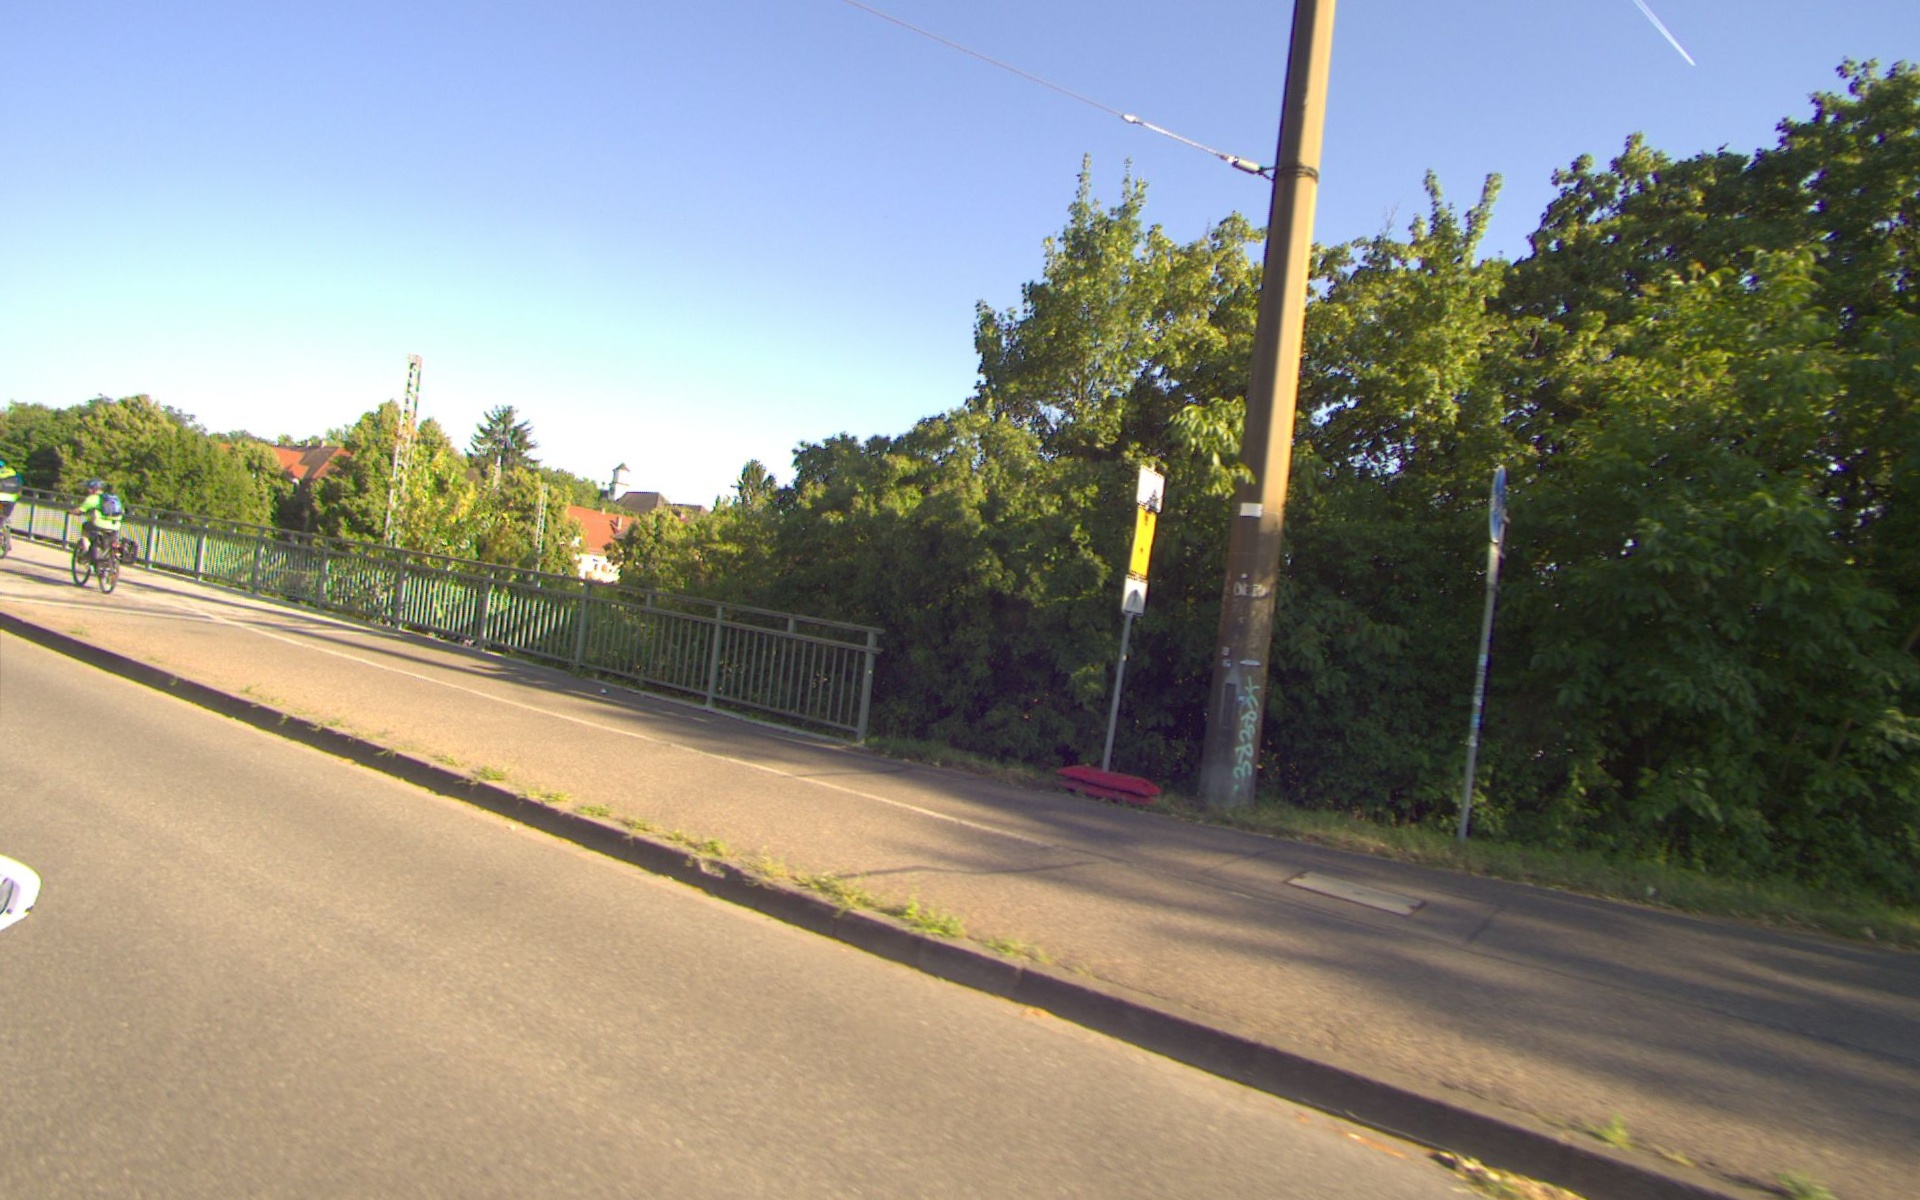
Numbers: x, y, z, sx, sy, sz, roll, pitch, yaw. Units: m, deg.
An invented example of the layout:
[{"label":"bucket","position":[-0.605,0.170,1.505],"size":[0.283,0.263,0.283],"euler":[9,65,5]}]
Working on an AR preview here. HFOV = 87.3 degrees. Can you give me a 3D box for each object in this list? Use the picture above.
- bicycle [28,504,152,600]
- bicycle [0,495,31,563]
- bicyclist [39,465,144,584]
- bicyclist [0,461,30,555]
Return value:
[{"label":"bicycle","position":[-12.913,-0.724,14.911],"size":[2.179,1.136,0.684],"euler":[8,0,32]},{"label":"bicycle","position":[-17.513,-1.339,18.069],"size":[2.008,1.136,0.626],"euler":[6,-1,32]},{"label":"bicyclist","position":[-12.850,-1.108,14.890],"size":[0.881,1.581,0.813],"euler":[8,0,32]},{"label":"bicyclist","position":[-17.326,-1.686,18.023],"size":[0.915,1.611,0.626],"euler":[7,-1,32]}]
